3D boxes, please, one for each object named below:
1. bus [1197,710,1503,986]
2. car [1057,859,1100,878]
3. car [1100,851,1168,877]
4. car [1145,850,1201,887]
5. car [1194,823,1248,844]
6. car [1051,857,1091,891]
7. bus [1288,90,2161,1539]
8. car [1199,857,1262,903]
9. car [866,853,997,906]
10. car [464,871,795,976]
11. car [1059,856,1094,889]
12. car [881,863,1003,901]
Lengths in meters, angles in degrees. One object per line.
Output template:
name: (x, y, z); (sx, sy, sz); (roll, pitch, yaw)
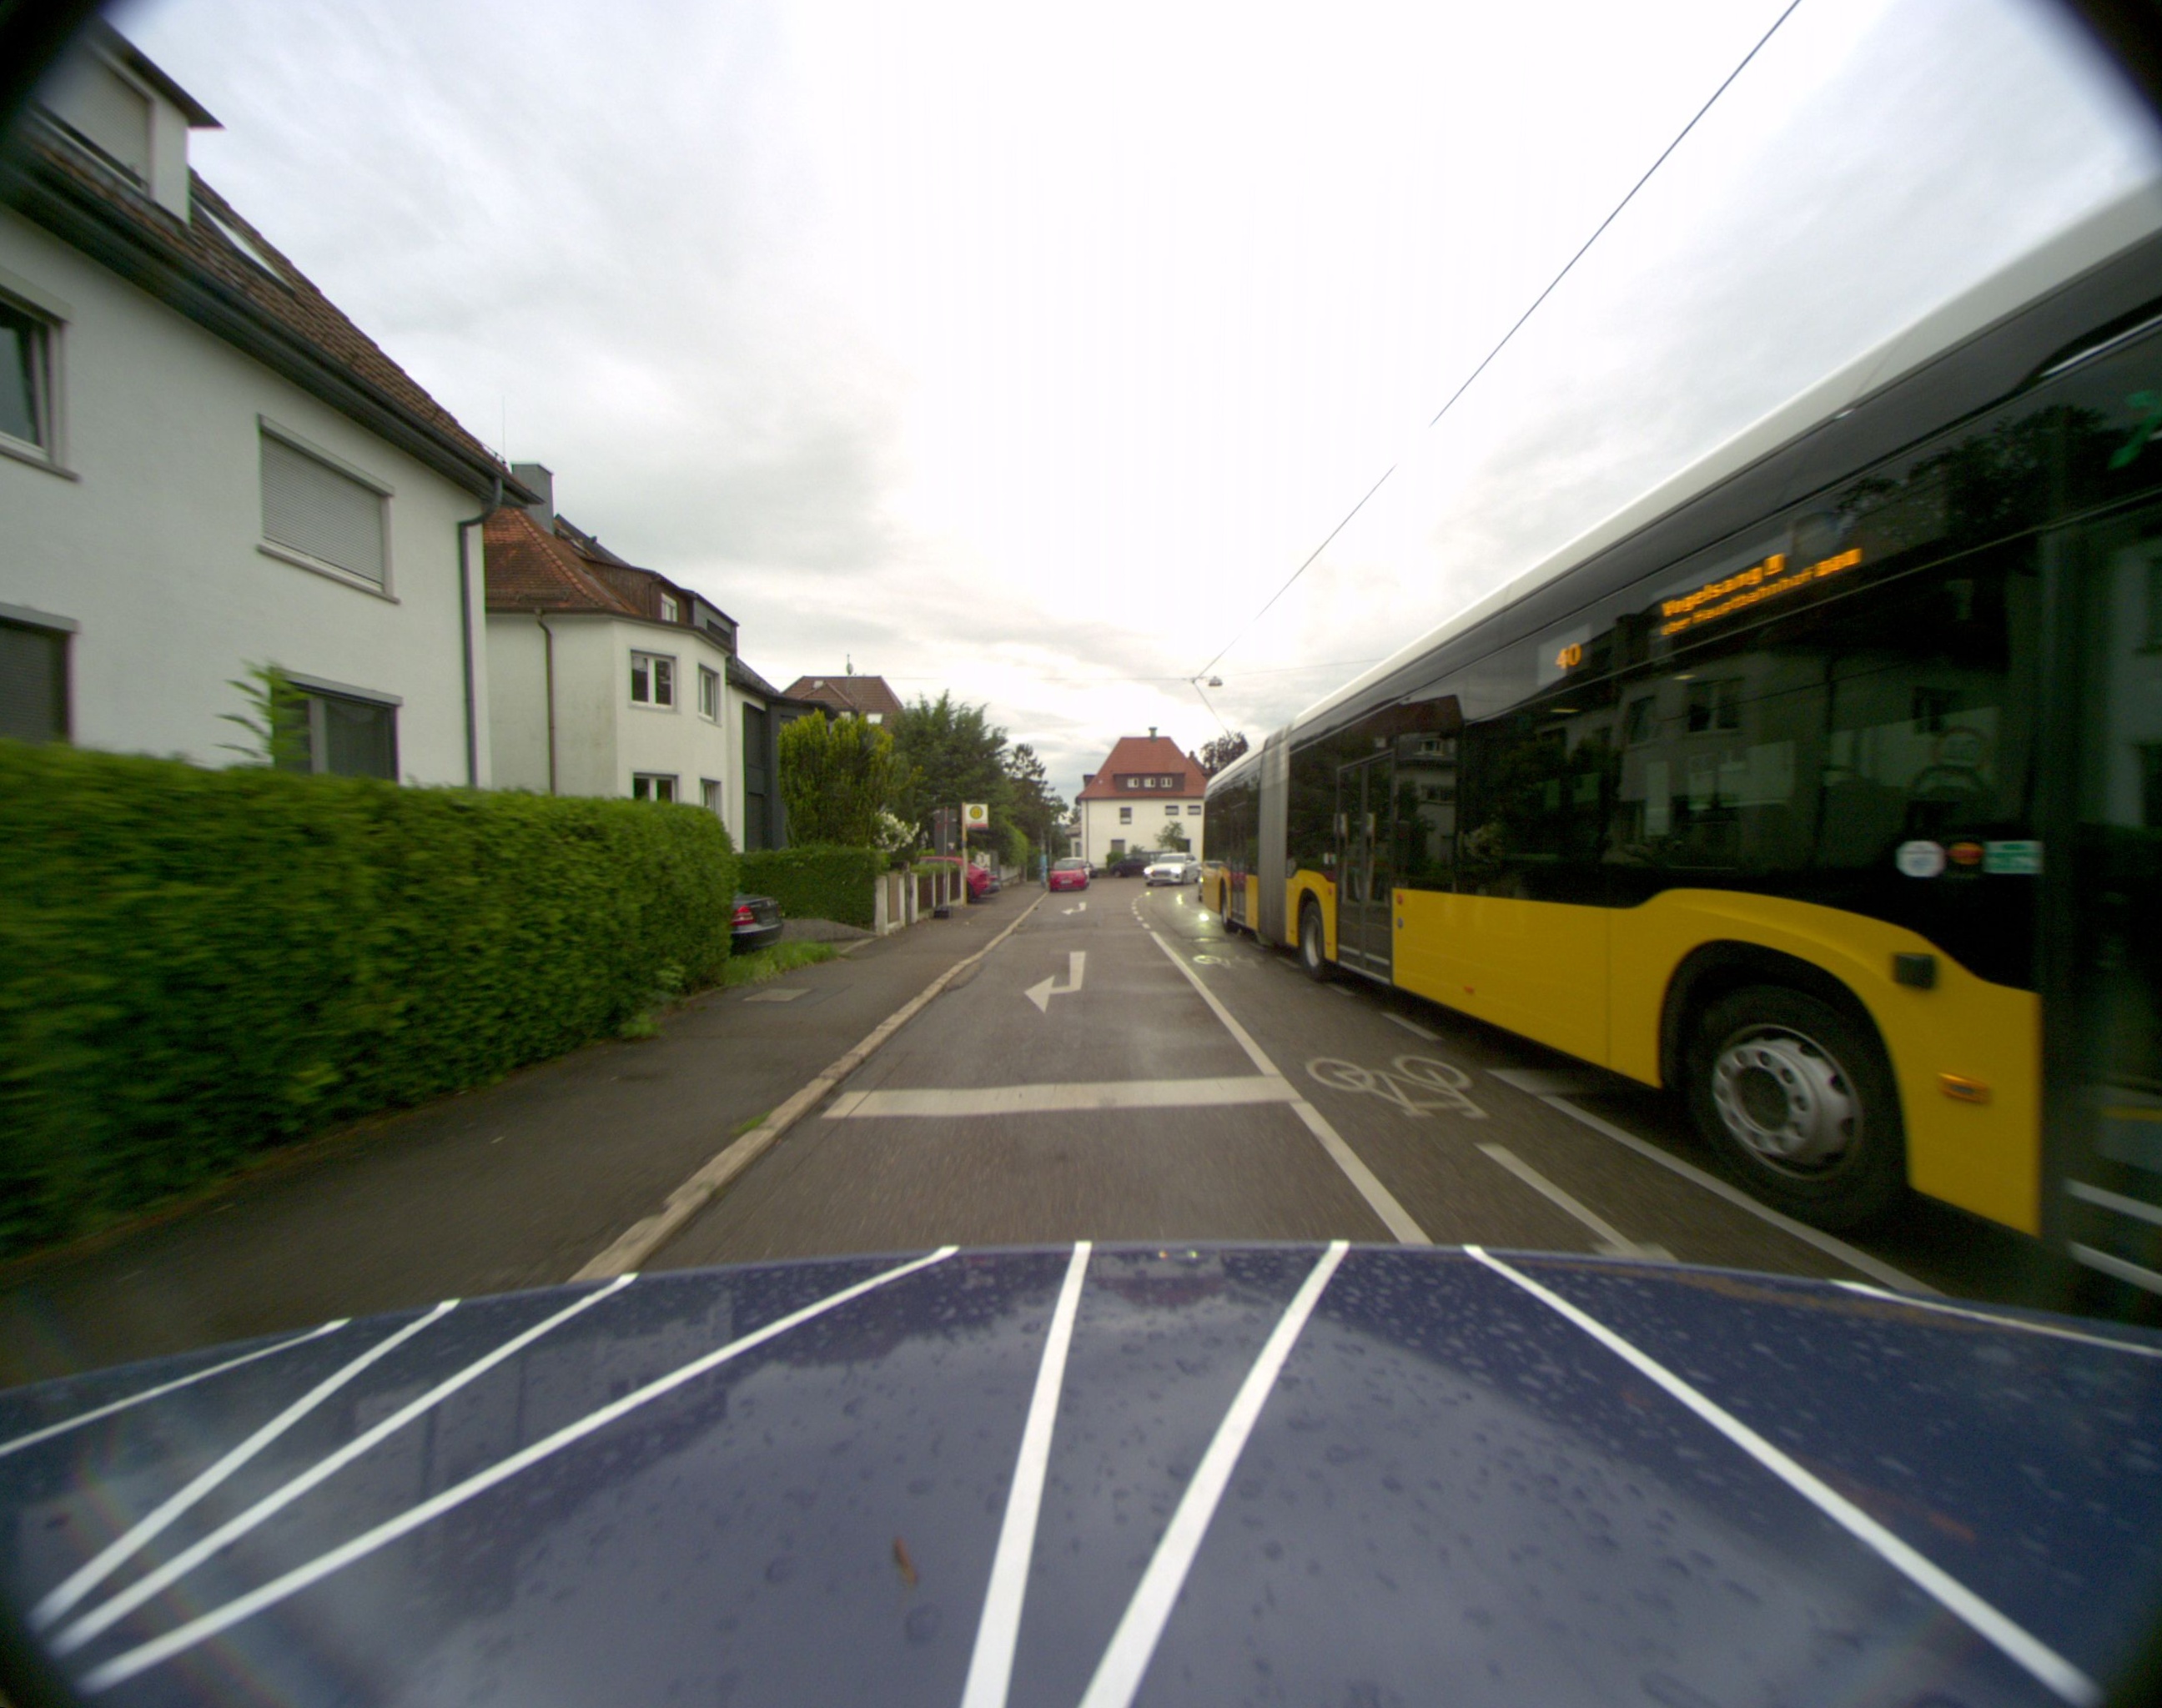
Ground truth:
bus: (3.949, -0.061, 13.656); (2.683, 3.378, 8.681); (0, 0, 2)
car: (-0.186, 1.153, 61.040); (3.274, 1.431, 1.321); (1, -5, -33)
car: (4.171, 0.741, 59.664); (4.911, 1.936, 1.943); (0, 1, 20)
car: (4.735, 0.699, 38.729); (1.792, 1.689, 3.896); (-2, 0, 23)
car: (13.488, -1.945, 73.136); (4.734, 1.799, 1.945); (3, 2, 20)
car: (-0.445, 0.922, 36.759); (1.615, 1.528, 3.541); (-2, 0, 3)
bus: (3.955, -0.089, 4.553); (2.907, 3.378, 9.040); (0, 0, 0)
car: (5.173, 0.841, 26.646); (1.997, 1.470, 4.489); (0, -1, 9)
car: (-5.250, 0.857, 26.805); (4.093, 1.740, 1.995); (1, 0, -30)
car: (-6.273, 0.943, 10.857); (3.752, 1.379, 1.617); (0, -2, 0)
car: (-0.232, 0.979, 42.453); (1.748, 1.662, 4.647); (-2, 0, 0)
car: (-5.370, 1.073, 29.886); (4.561, 1.408, 1.999); (1, 0, -5)
